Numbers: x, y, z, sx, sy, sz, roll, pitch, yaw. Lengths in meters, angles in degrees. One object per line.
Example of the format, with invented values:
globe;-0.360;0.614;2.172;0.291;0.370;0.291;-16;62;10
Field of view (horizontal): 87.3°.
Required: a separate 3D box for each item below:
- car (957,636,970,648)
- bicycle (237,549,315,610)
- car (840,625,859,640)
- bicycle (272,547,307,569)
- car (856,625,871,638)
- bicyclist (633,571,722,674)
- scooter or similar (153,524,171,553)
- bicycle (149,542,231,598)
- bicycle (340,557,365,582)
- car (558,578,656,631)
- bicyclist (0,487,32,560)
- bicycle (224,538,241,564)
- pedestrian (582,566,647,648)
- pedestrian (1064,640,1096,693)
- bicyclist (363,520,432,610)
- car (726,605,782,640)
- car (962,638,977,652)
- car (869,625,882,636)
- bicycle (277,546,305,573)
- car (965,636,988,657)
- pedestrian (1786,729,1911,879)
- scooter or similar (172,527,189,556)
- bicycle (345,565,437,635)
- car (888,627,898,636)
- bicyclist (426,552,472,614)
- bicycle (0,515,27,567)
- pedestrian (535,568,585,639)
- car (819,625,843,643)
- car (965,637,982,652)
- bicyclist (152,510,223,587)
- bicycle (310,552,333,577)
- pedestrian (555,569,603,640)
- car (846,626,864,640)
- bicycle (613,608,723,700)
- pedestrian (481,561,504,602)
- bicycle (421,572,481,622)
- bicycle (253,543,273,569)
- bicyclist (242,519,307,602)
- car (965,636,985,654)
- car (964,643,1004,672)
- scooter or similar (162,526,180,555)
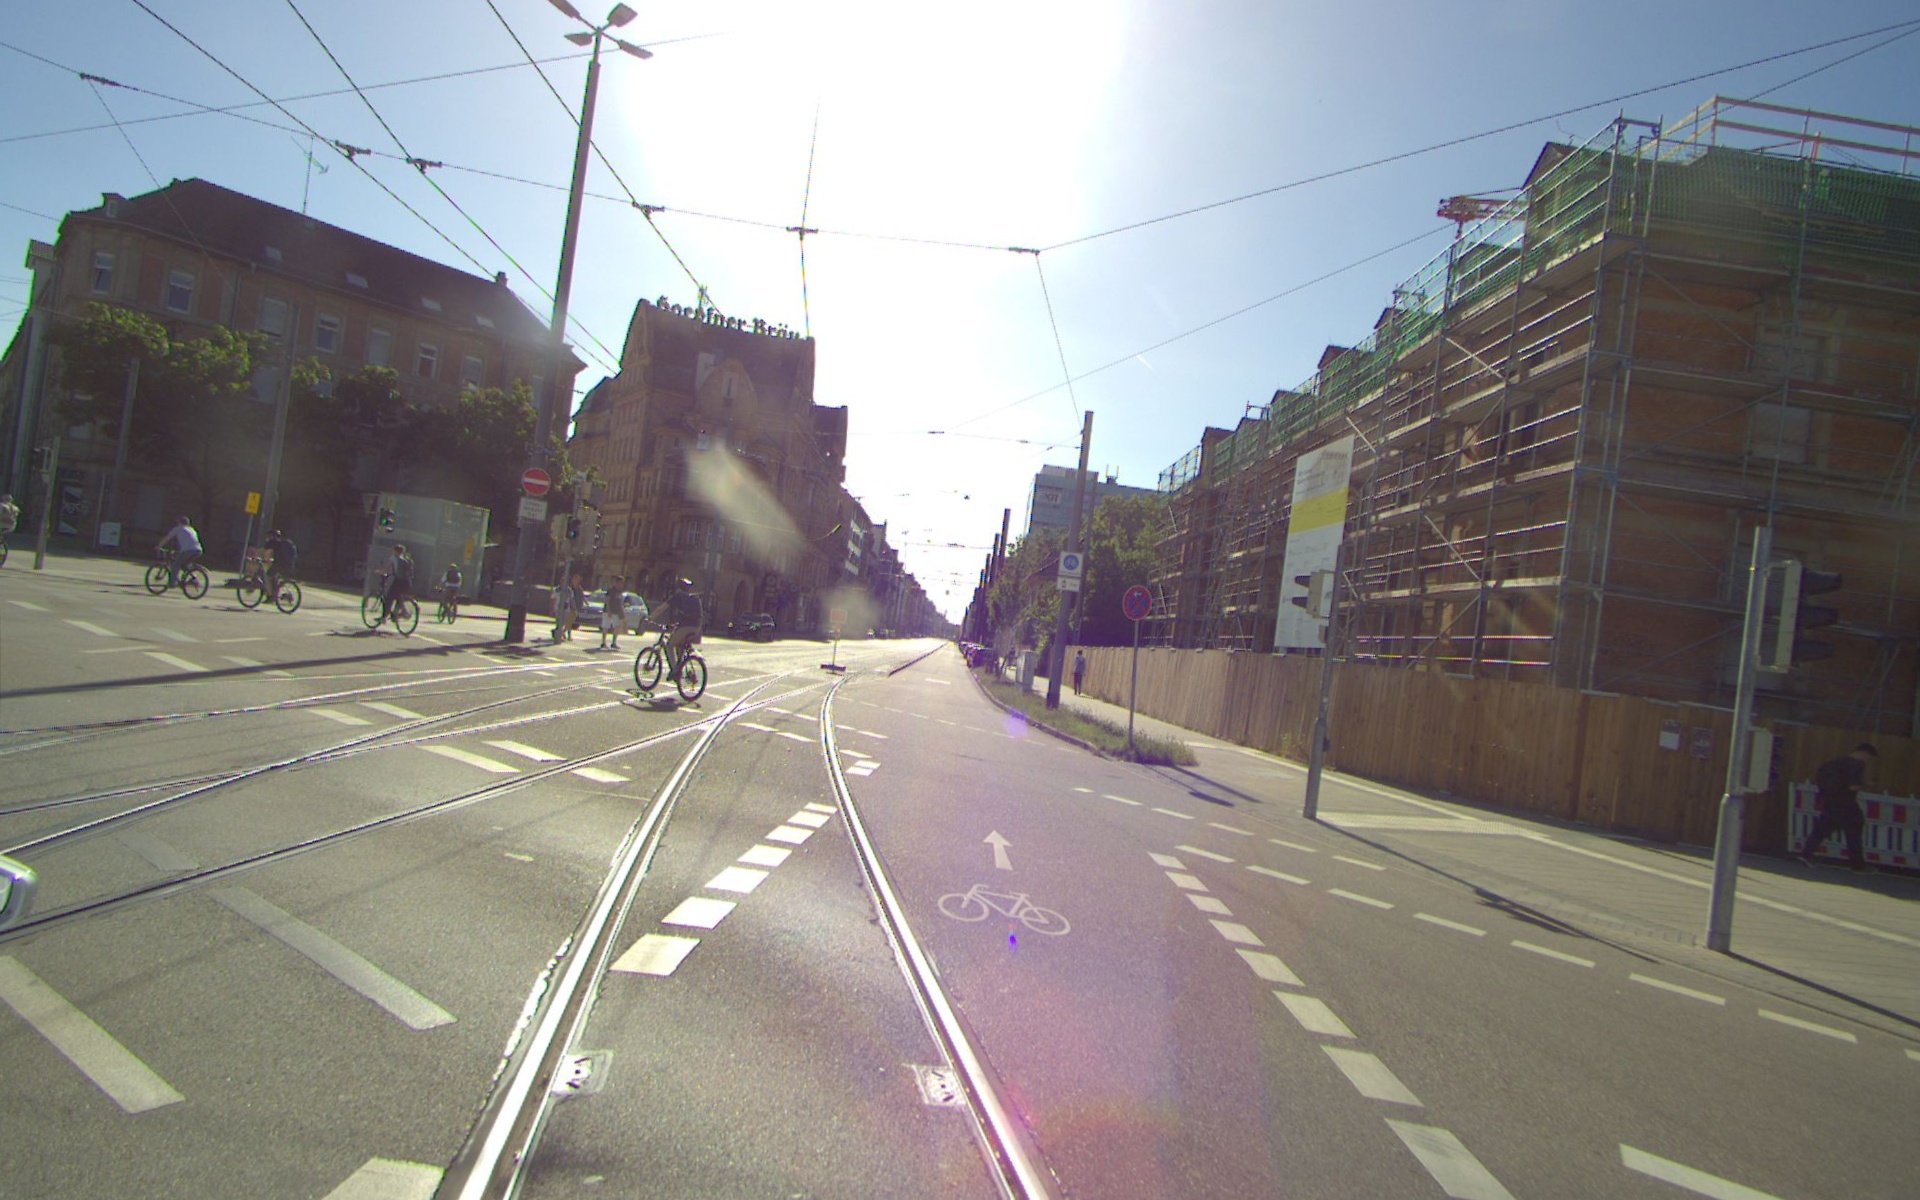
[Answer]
car;0.519;6.800;163.603;1.883;1.639;3.825;7;-2;2
bicycle;-14.929;-0.457;21.937;1.901;1.130;0.533;6;-2;30
car;-13.906;4.125;126.531;1.721;1.639;4.020;7;-2;1
bicycle;-34.880;-2.174;52.336;1.413;0.865;0.400;11;-4;-39
car;-14.649;4.788;153.005;1.721;1.642;4.013;7;1;1
bicyclist;-4.441;0.350;15.793;1.020;1.437;0.675;6;-3;36
scooter or similar;-34.385;-2.646;43.331;1.545;1.198;0.270;5;-3;45
bicycle;-17.924;-0.702;23.411;1.897;1.082;0.387;7;0;16
bicycle;-29.540;-1.492;48.890;1.440;1.073;0.403;6;-3;38
car;-13.842;0.240;39.749;1.882;1.639;4.257;7;-3;6
bicyclist;-24.023;-1.946;25.215;1.102;1.702;0.682;7;-3;34
bicycle;-32.773;-2.219;45.313;0.402;1.073;1.466;10;-3;-40
pedestrian;-8.949;0.179;26.076;1.034;1.950;0.931;6;-3;40
pedestrian;4.959;2.728;41.505;0.849;2.035;1.088;8;-2;-4
bicyclist;-11.056;-0.694;19.781;0.936;1.631;0.552;7;-2;29
car;-12.260;1.366;60.109;1.882;1.705;4.257;7;-2;6
car;1.313;6.282;139.684;1.883;1.639;3.825;7;-2;2
car;-15.005;5.367;178.575;1.721;1.641;4.015;7;0;1
bicycle;-31.244;-1.893;46.991;1.329;1.073;0.404;7;-3;29
car;1.533;4.187;90.757;1.883;1.639;3.825;7;-2;2
pedestrian;12.033;2.738;13.647;0.816;1.807;0.778;8;-2;4
scooter or similar;-33.946;-2.565;43.800;1.545;1.209;0.270;5;-3;45
bicycle;-11.197;-0.010;19.785;1.900;1.130;0.533;7;-2;29
car;-14.125;6.709;212.416;1.721;1.641;4.015;7;0;1
bicyclist;-14.580;-0.488;28.699;0.938;1.631;0.599;7;-3;35
bicycle;-24.148;-1.534;25.239;1.902;1.130;0.532;9;-1;34
pedestrian;-10.252;0.089;25.793;0.812;1.695;0.659;6;-3;40
car;-13.609;3.572;106.351;1.721;1.639;4.020;7;-2;1
car;1.660;5.432;122.794;1.883;1.639;3.825;7;-2;2
bicyclist;-17.973;-1.192;23.422;0.869;1.612;0.785;7;-1;17
bicycle;-30.698;-1.705;48.335;1.441;1.073;0.403;6;-3;41
pedestrian;-10.223;0.112;26.984;0.812;1.776;0.659;6;-3;40
car;-13.773;4.363;132.707;1.721;1.639;4.020;7;-2;1
bicycle;-4.623;0.837;15.867;1.837;1.172;0.532;7;-1;37
pedestrian;-22.586;-0.881;48.620;0.537;1.869;0.651;8;-2;2
bicycle;-14.501;-0.106;28.637;1.902;1.130;0.532;9;-1;34
bicycle;-32.024;-2.032;46.223;1.335;1.073;0.402;6;-3;45
bicyclist;-14.875;-0.856;21.822;0.964;1.631;0.625;7;-3;32
car;1.597;4.676;105.127;1.883;1.639;3.825;7;-2;2
car;1.564;3.848;68.062;1.966;1.591;4.000;9;-3;-7
scooter or similar;-34.178;-2.600;43.566;1.545;1.198;0.270;5;-3;45
